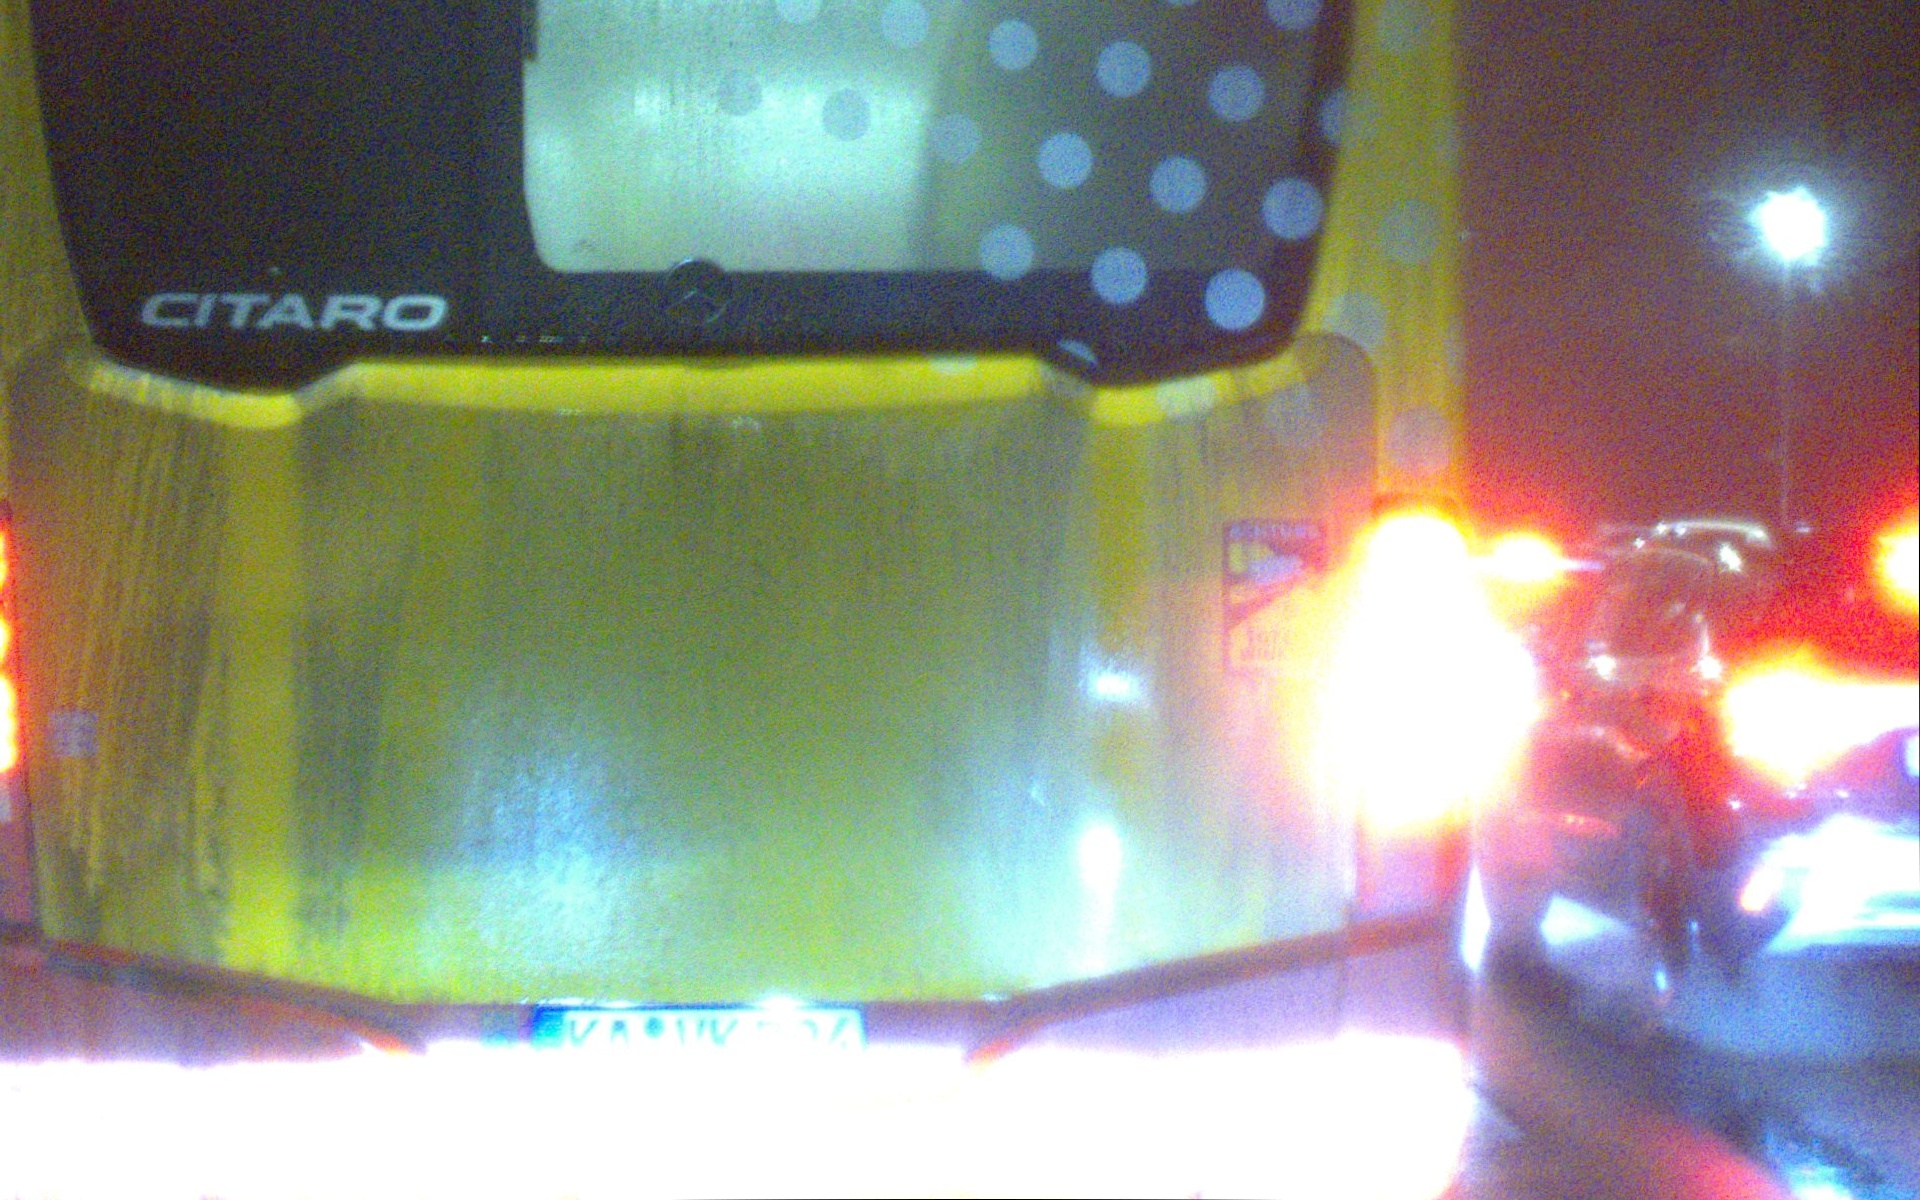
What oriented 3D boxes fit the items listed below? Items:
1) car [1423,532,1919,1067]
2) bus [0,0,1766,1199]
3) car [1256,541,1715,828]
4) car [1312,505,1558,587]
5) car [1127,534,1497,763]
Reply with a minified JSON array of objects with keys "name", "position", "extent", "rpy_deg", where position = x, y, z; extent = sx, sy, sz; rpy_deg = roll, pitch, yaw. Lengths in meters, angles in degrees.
[{"name":"car","position":[2.807,0.556,11.795],"extent":[1.677,1.516,3.961],"rpy_deg":[1,1,-3]},{"name":"bus","position":[-0.629,-0.314,9.839],"extent":[3.285,3.039,9.546],"rpy_deg":[0,2,-2]},{"name":"car","position":[2.636,0.366,18.093],"extent":[1.686,1.326,3.961],"rpy_deg":[-1,1,-2]},{"name":"car","position":[9.460,-1.084,68.606],"extent":[4.482,1.513,1.858],"rpy_deg":[1,3,-8]},{"name":"car","position":[2.338,0.290,23.891],"extent":[1.993,1.436,4.000],"rpy_deg":[1,1,-2]}]
